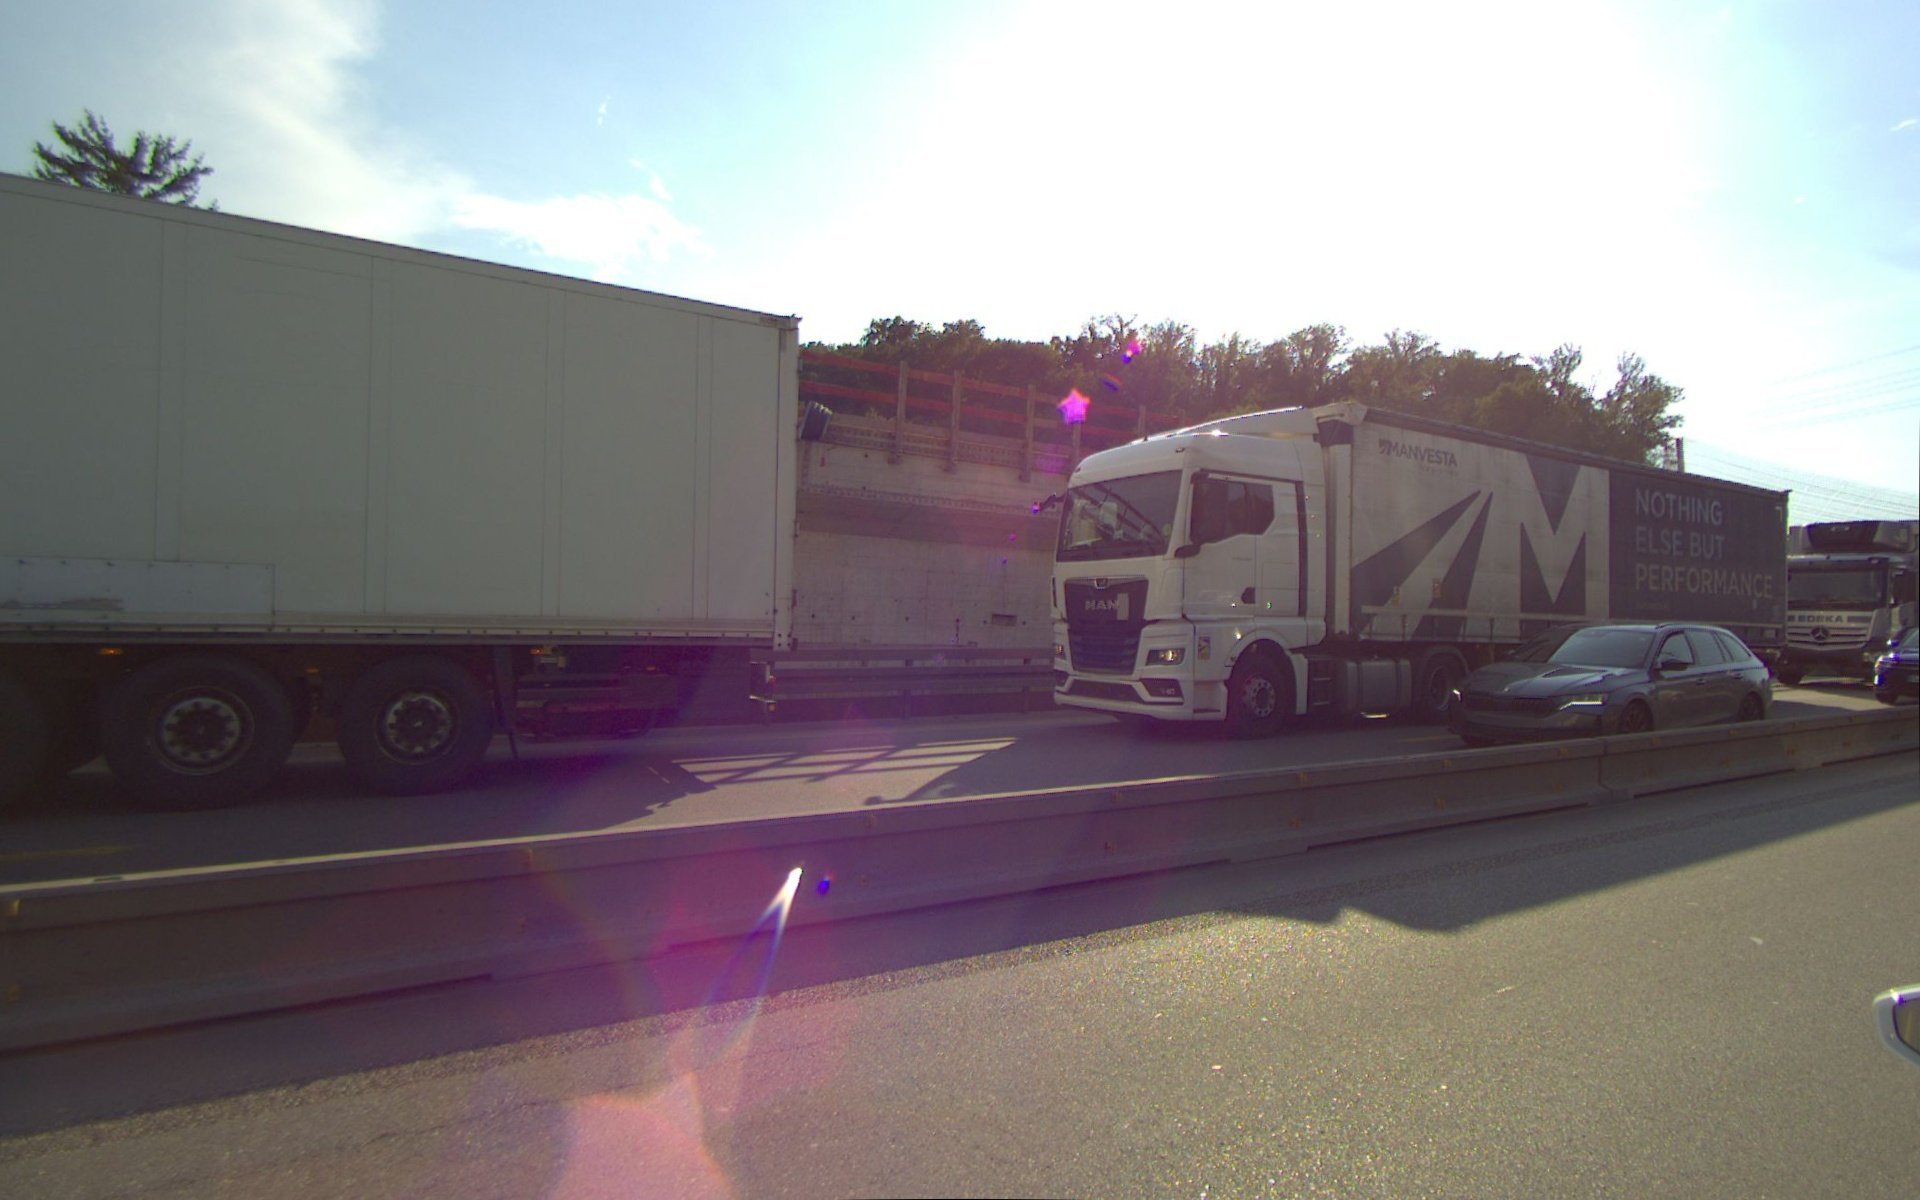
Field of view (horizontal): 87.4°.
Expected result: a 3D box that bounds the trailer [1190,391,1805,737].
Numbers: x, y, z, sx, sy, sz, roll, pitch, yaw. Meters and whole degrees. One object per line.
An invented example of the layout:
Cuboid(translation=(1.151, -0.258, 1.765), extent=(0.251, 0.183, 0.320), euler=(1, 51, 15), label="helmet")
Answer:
Cuboid(translation=(9.920, -0.231, 17.137), extent=(13.678, 4.259, 2.761), euler=(2, -1, -32), label="trailer")

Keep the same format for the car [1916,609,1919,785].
Cuboid(translation=(10.982, 0.952, 9.613), extent=(4.101, 1.608, 1.692), euler=(2, -1, -32), label="car")

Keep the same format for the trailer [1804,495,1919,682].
Cuboid(translation=(25.785, -0.194, 26.860), extent=(7.075, 4.525, 2.894), euler=(2, 0, -33), label="trailer")

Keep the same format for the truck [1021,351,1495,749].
Cuboid(translation=(4.114, -0.443, 13.521), extent=(6.046, 4.259, 2.750), euler=(2, -1, -32), label="truck")

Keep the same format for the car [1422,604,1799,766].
Cuboid(translation=(7.567, 0.912, 11.542), extent=(4.762, 1.476, 1.764), euler=(3, 0, -32), label="car")

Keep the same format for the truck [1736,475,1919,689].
Cuboid(translation=(21.373, -0.336, 24.015), extent=(4.973, 4.574, 2.903), euler=(2, 0, -33), label="truck")

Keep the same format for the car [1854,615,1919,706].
Cuboid(translation=(18.796, 1.171, 18.899), extent=(4.430, 1.571, 1.757), euler=(3, 0, -32), label="car")

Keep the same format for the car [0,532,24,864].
Cuboid(translation=(-6.538, 0.443, 3.135), extent=(4.918, 1.677, 1.997), euler=(2, 1, -31), label="car")

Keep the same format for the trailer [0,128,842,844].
Cuboid(translation=(-7.559, -0.732, 6.571), extent=(13.615, 4.377, 2.444), euler=(2, -1, -31), label="trailer")

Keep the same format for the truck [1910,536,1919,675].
Cuboid(translation=(31.524, 0.204, 30.650), extent=(4.980, 4.169, 2.731), euler=(1, -1, -35), label="truck")
